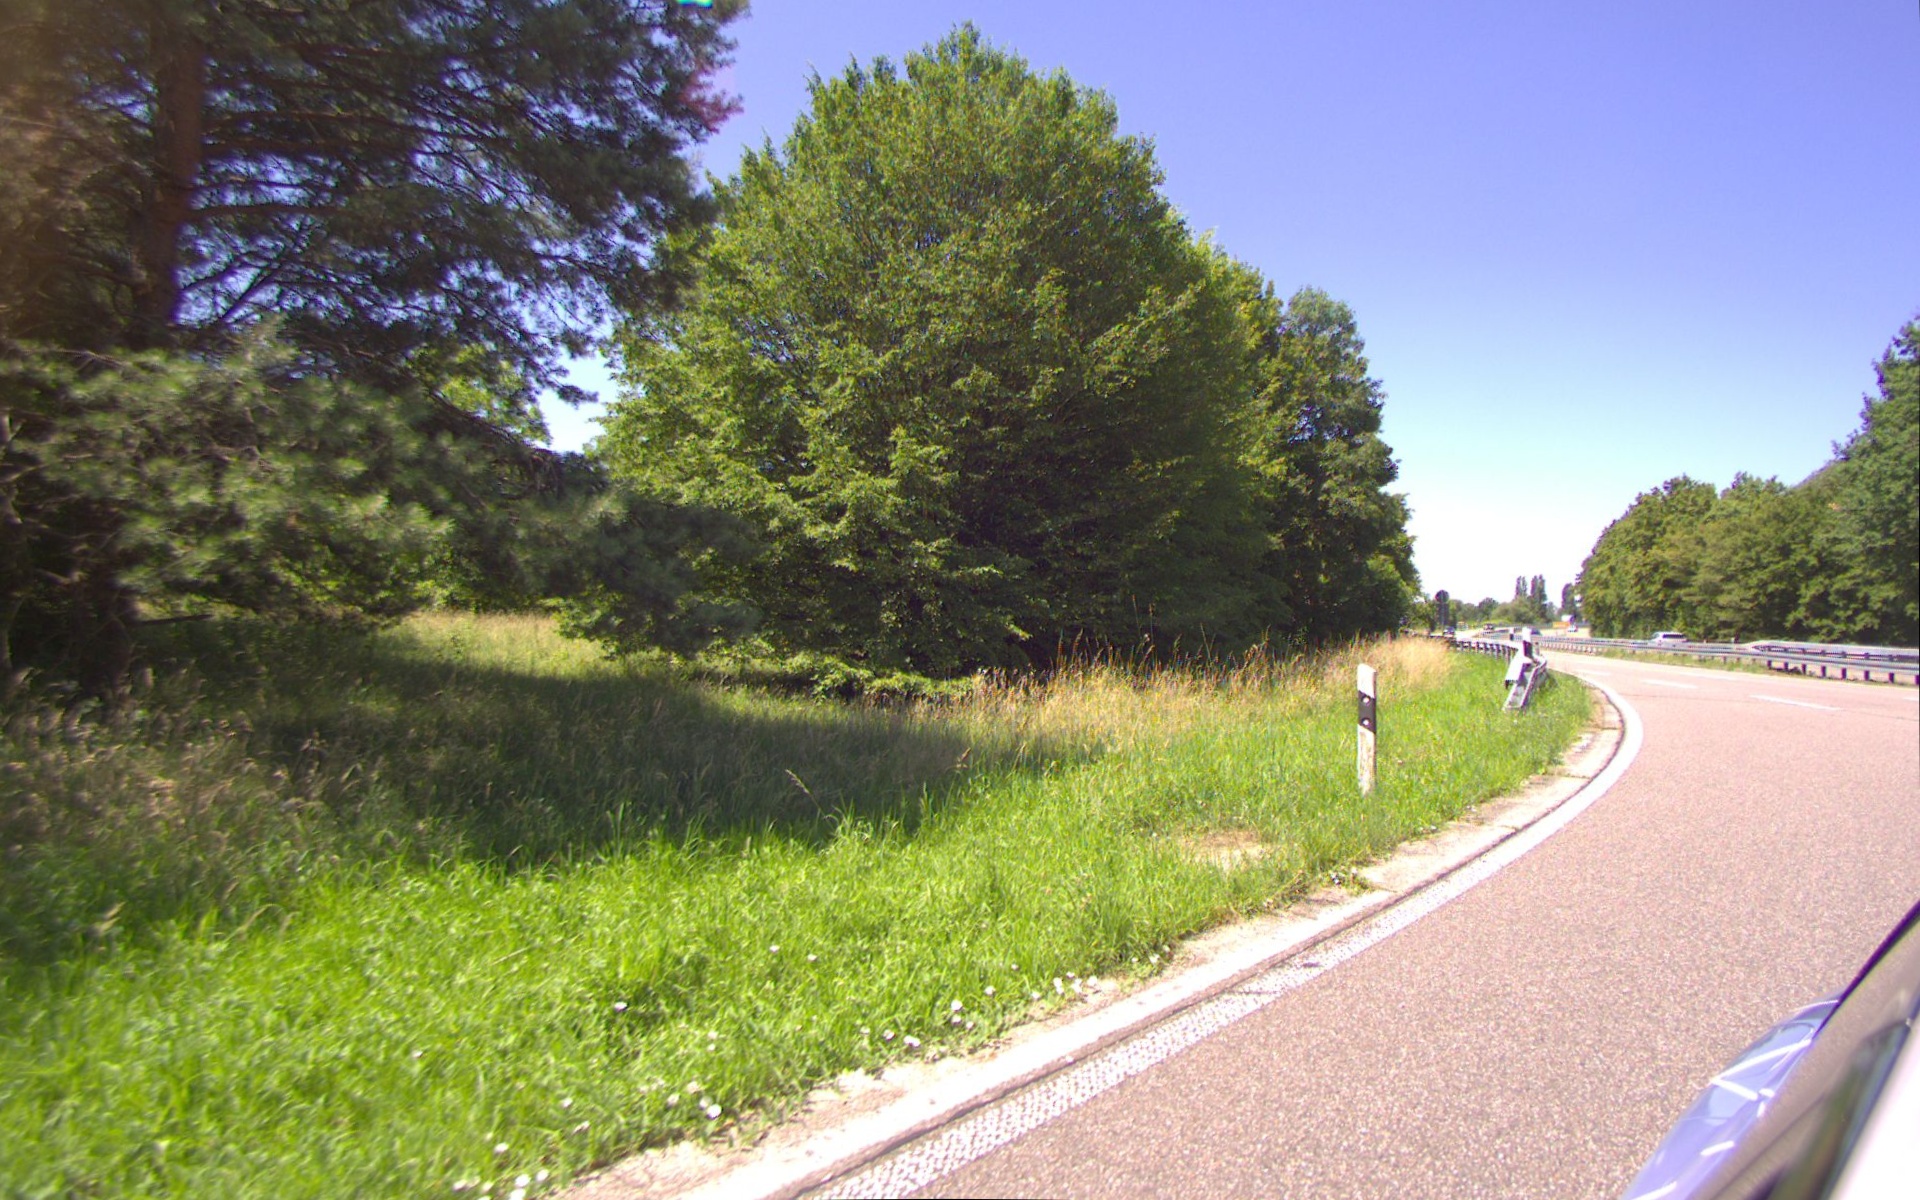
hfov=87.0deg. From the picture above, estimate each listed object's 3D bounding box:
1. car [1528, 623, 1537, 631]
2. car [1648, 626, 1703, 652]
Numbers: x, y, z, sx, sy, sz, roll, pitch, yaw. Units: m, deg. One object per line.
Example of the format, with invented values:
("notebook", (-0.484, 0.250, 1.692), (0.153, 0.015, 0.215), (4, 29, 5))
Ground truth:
("car", (124.092, 5.945, 219.478), (1.642, 1.627, 4.175), (2, -1, 29))
("car", (47.969, 2.589, 67.943), (1.738, 1.593, 4.388), (2, -1, 17))
